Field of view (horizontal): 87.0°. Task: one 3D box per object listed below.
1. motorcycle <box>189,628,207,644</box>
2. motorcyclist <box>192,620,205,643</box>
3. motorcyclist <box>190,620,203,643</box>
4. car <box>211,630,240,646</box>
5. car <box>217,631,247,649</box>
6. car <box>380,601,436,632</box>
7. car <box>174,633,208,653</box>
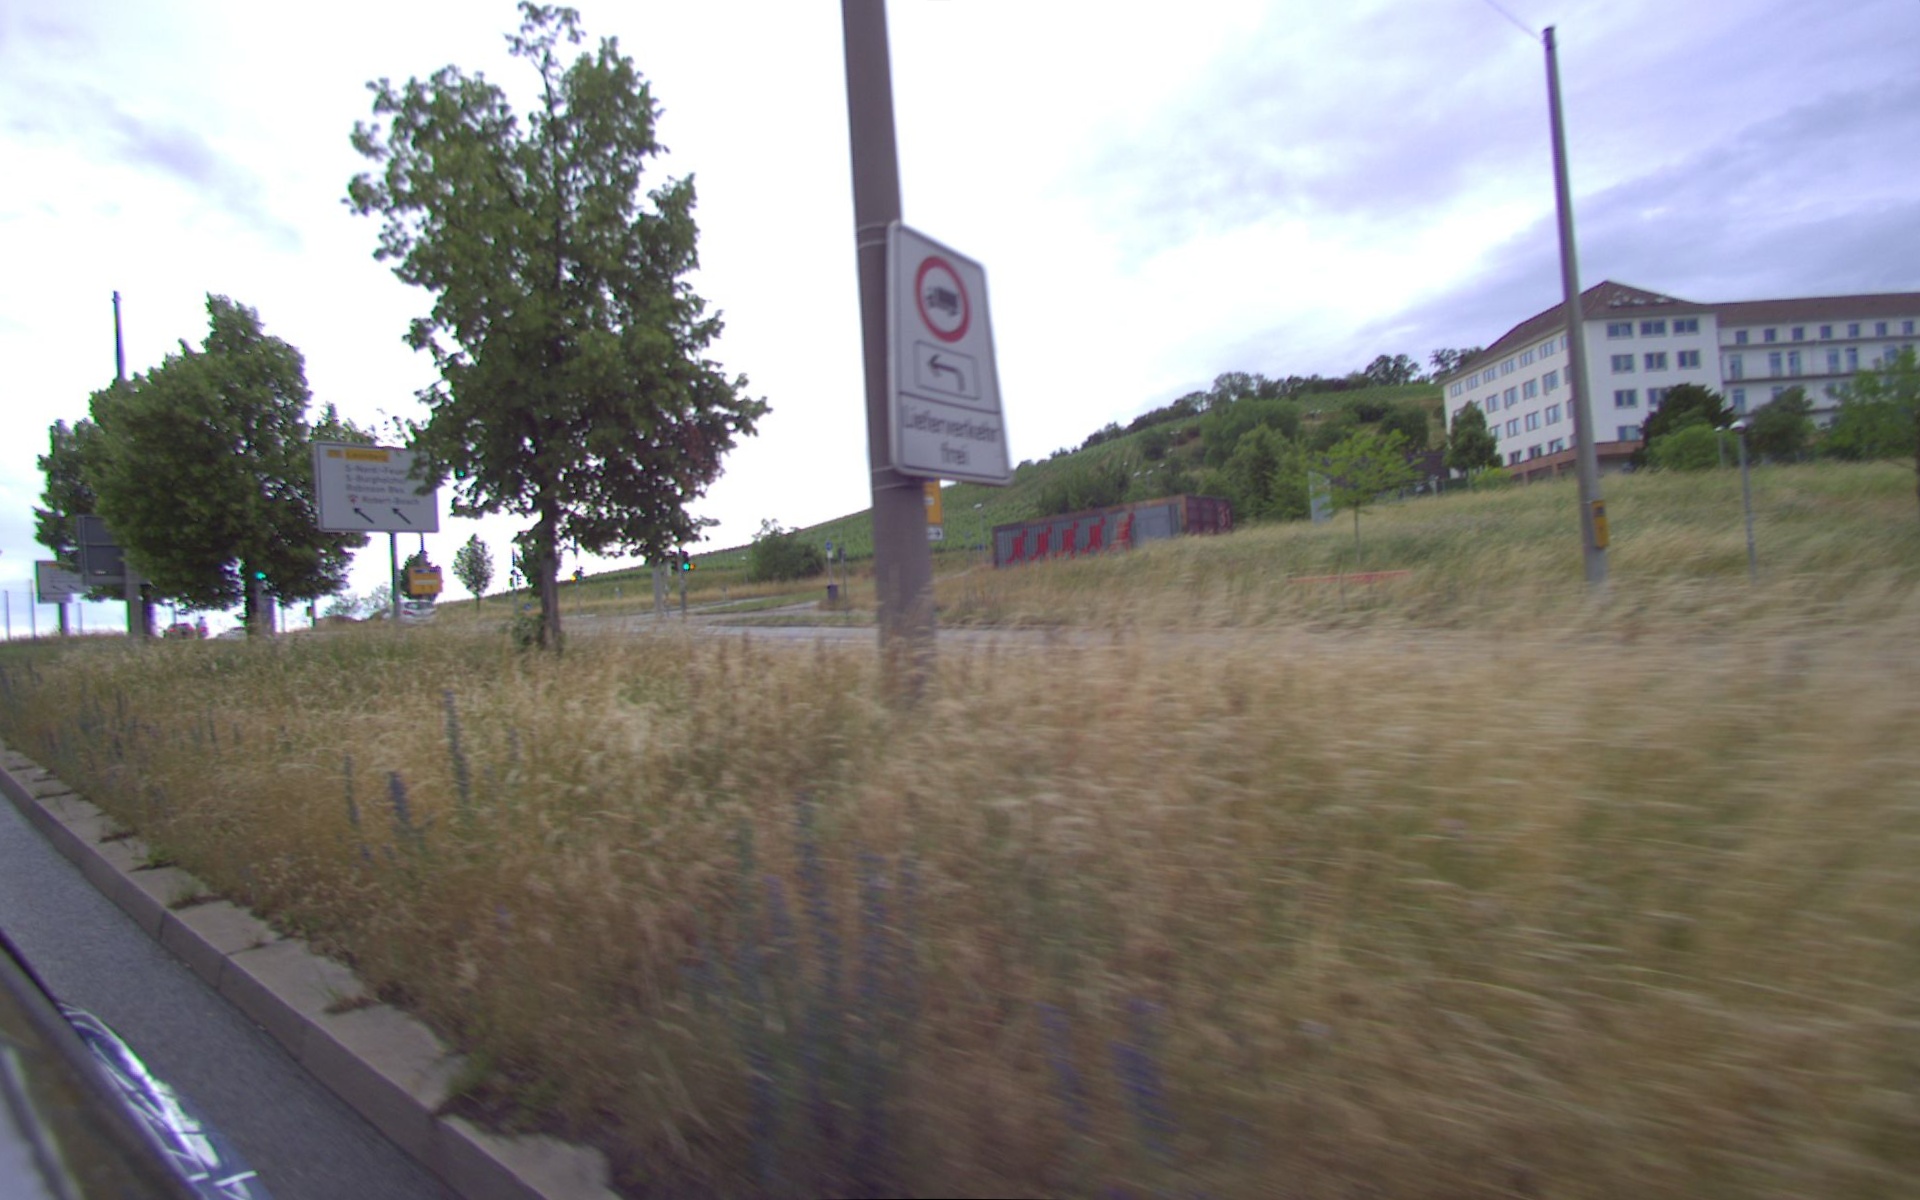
[{"bbox_3d":[-55.584,2.647,73.842,2.502,1.058,0.610,-4,-1,43],"label":"motorcycle"},{"bbox_3d":[-55.468,2.286,73.702,0.582,1.593,0.605,-4,-1,43],"label":"motorcyclist"},{"bbox_3d":[-55.961,2.311,74.181,0.643,1.608,0.576,-4,-1,43],"label":"motorcyclist"},{"bbox_3d":[-79.124,4.061,108.980,4.179,1.660,1.748,-1,1,44],"label":"car"},{"bbox_3d":[-68.595,3.772,95.313,3.775,1.474,1.633,-4,-1,44],"label":"car"},{"bbox_3d":[-26.251,0.778,48.082,1.519,1.399,3.933,-2,1,-41],"label":"car"},{"bbox_3d":[-62.754,3.492,82.656,1.516,1.515,3.674,-2,1,-27],"label":"car"}]
